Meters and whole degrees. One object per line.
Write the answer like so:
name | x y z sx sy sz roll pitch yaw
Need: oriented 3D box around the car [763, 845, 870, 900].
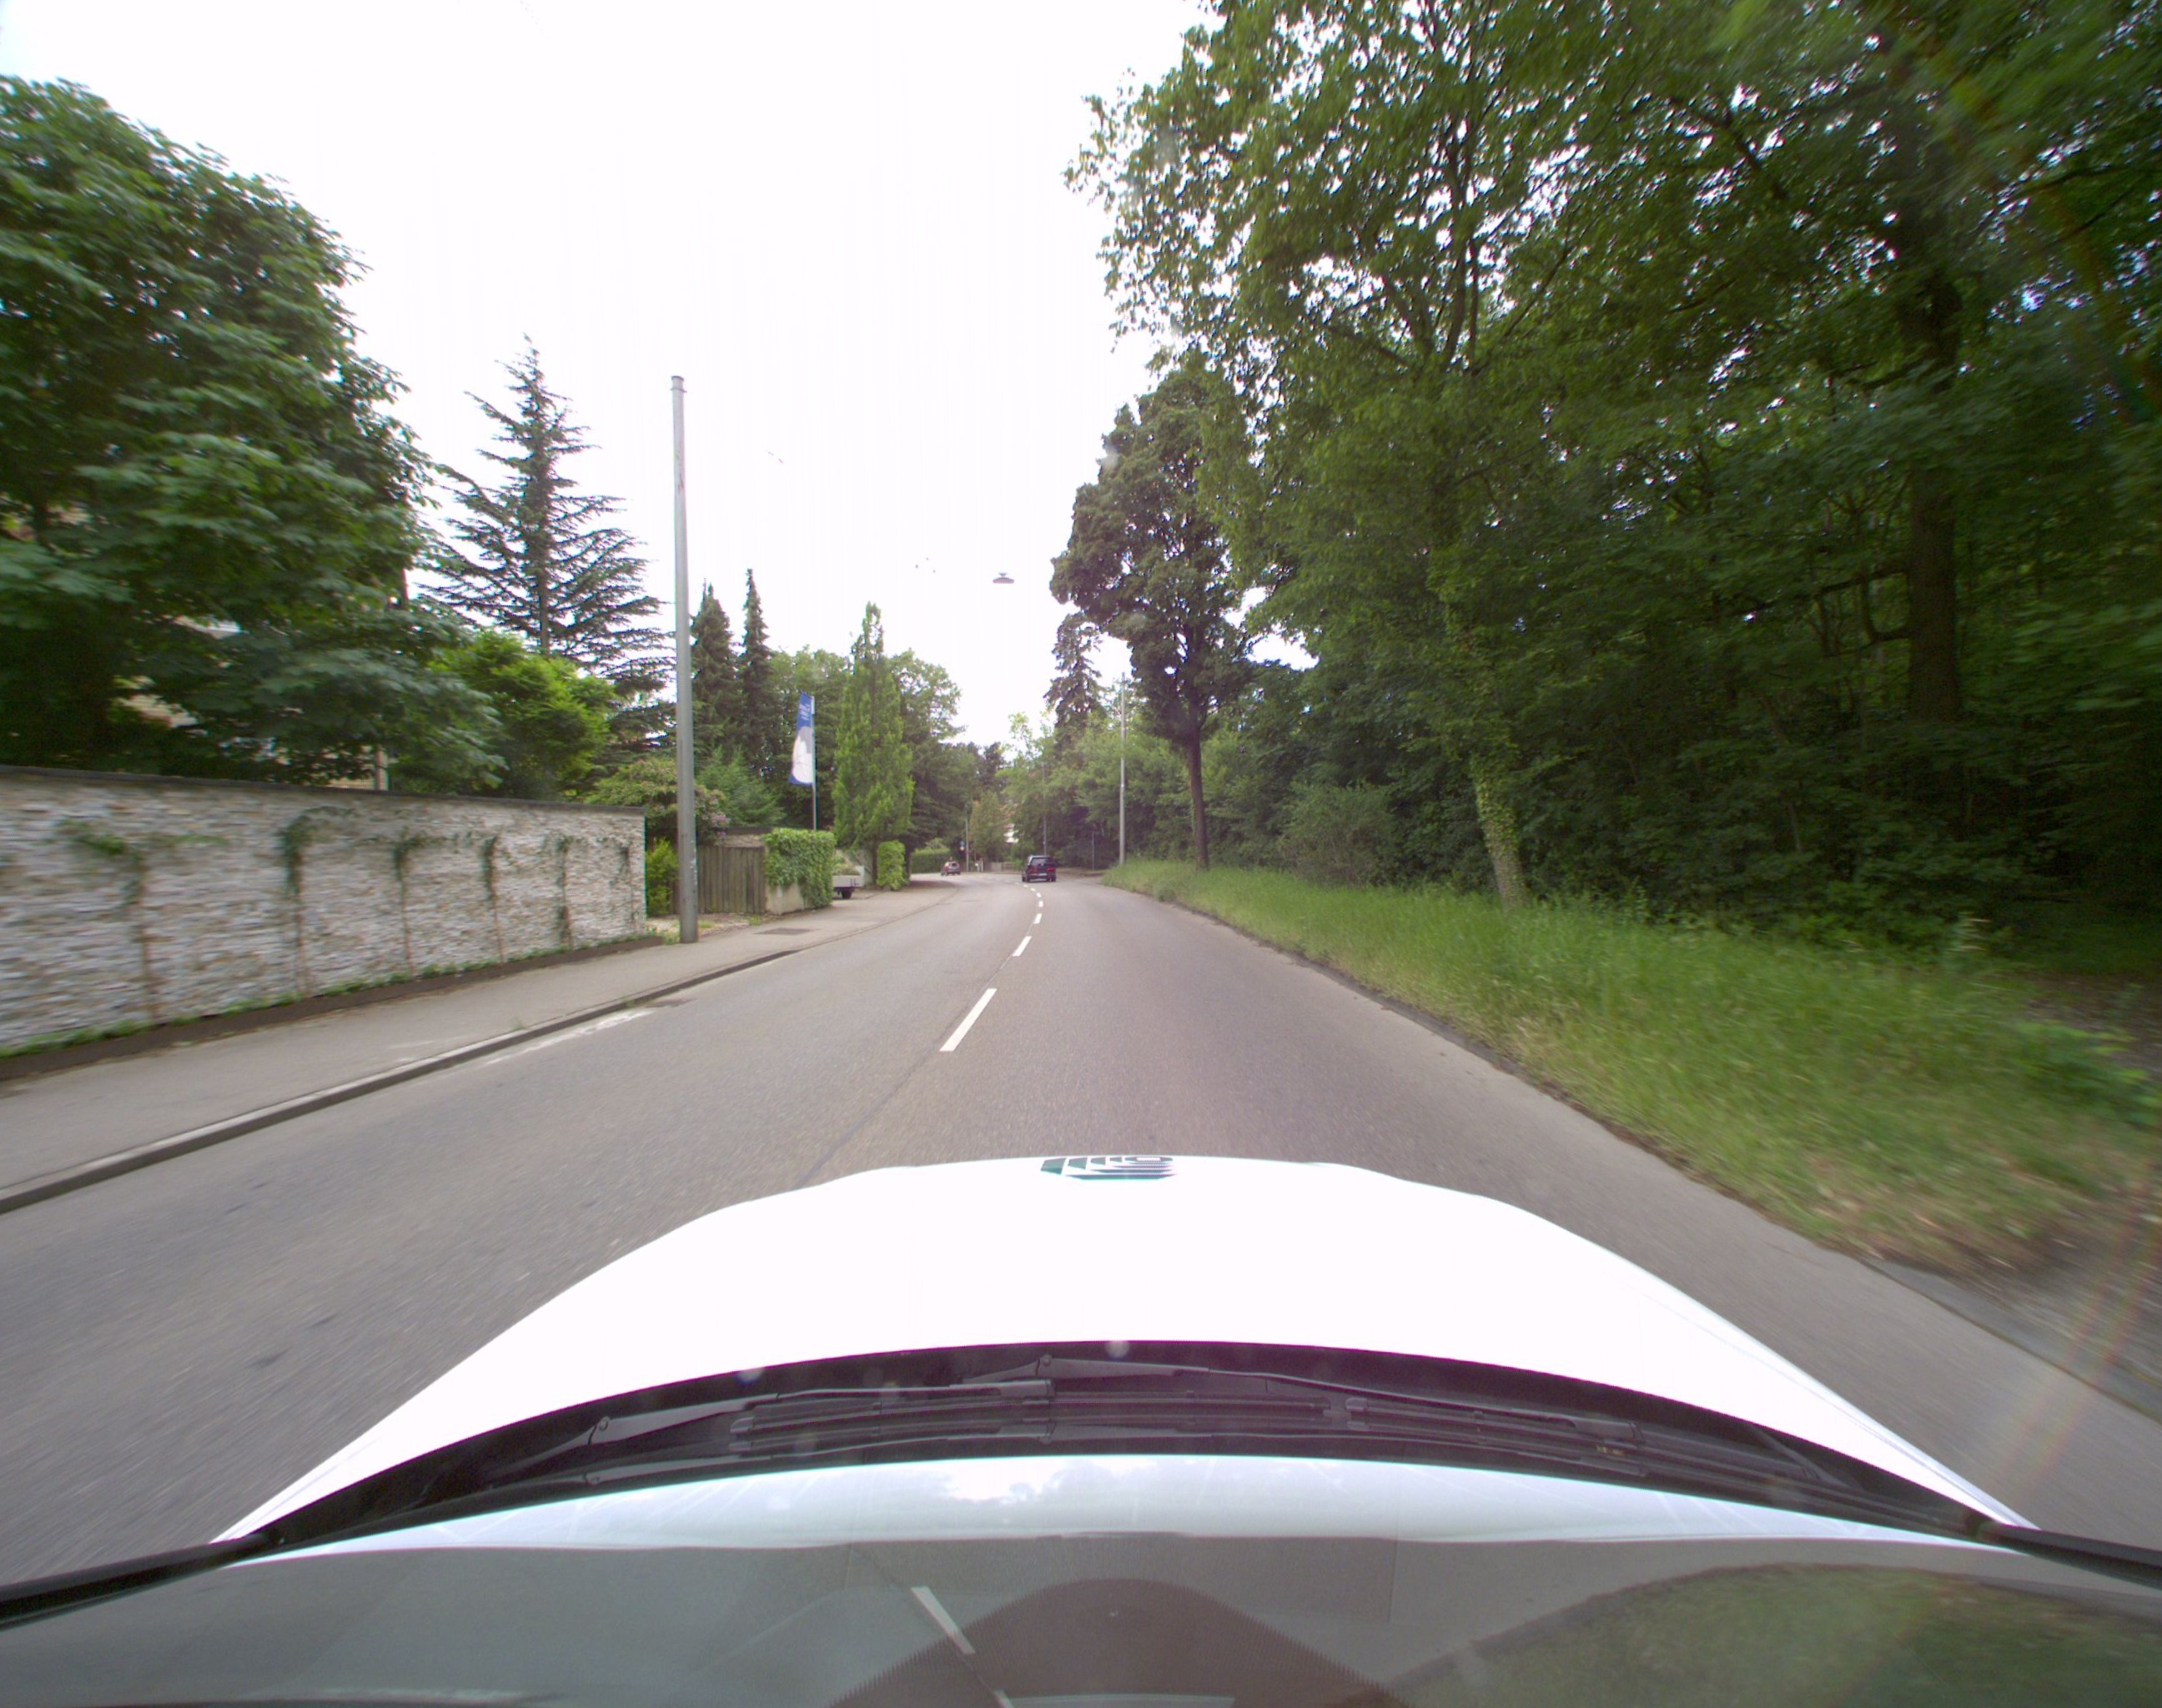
car | -11.119 0.758 33.939 2.438 2.073 5.299 -2 0 -39

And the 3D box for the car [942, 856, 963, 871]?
car | -15.424 1.137 97.624 1.997 1.618 3.980 -2 1 -15

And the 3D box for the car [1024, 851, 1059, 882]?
car | -2.612 0.774 52.903 1.992 1.881 3.990 -2 1 -7
